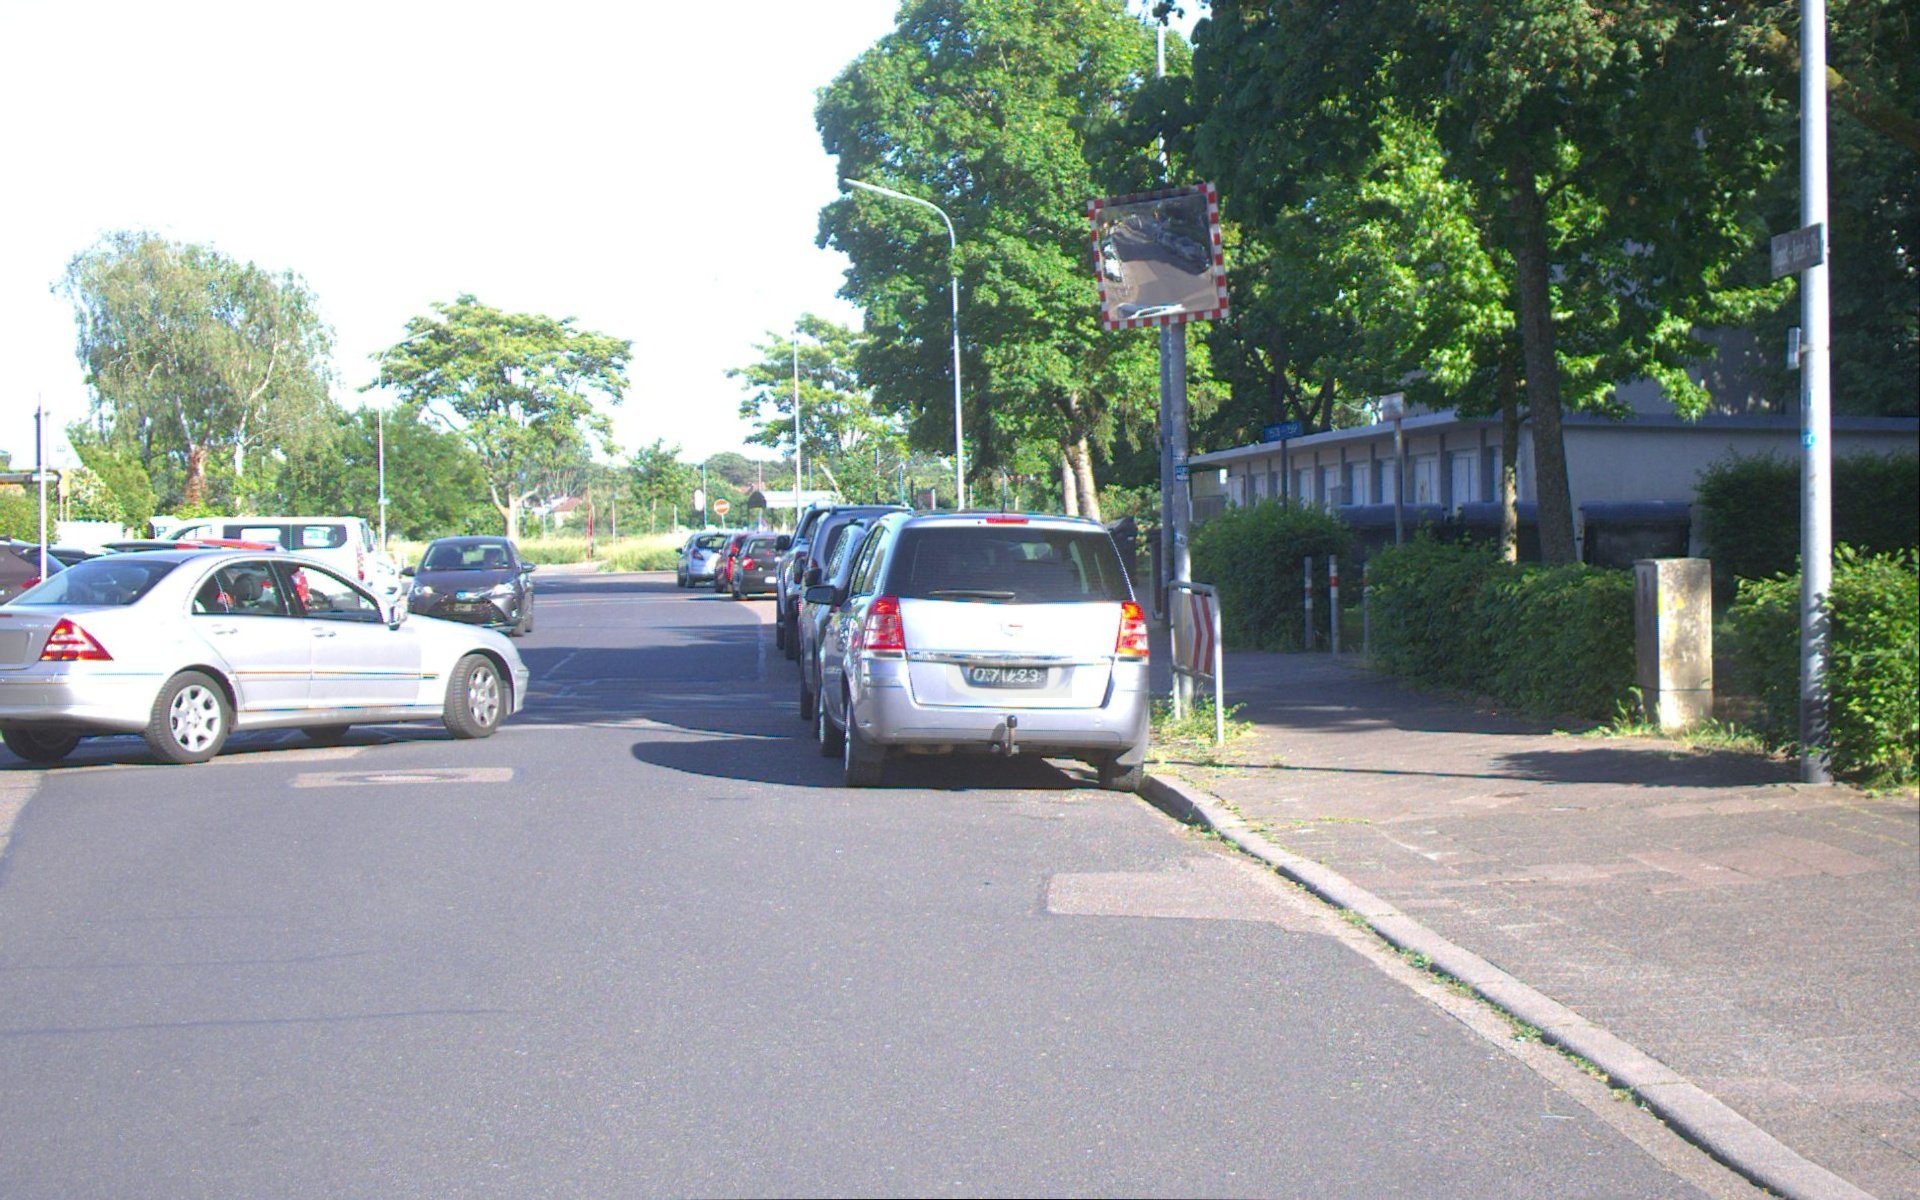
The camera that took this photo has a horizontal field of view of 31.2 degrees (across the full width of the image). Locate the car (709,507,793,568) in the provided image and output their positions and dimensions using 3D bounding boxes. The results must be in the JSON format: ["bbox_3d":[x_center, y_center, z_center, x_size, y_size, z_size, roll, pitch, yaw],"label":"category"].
[{"bbox_3d":[-5.078,-1.506,83.310,1.575,1.441,3.790,-1,1,-10],"label":"car"}]

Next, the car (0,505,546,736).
[{"bbox_3d":[-5.111,0.070,24.127,1.820,1.458,4.351,1,2,39],"label":"car"}]

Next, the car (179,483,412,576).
[{"bbox_3d":[-14.278,-1.503,74.106,4.787,1.914,2.082,1,0,-8],"label":"car"}]

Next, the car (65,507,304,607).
[{"bbox_3d":[-12.790,-0.719,56.863,3.601,1.562,1.882,1,2,-4],"label":"car"}]

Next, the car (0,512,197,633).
[{"bbox_3d":[-12.055,-0.370,44.383,4.091,1.507,1.813,1,0,-6],"label":"car"}]

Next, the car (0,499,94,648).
[{"bbox_3d":[-12.165,-0.327,39.218,4.186,1.650,1.847,1,0,-6],"label":"car"}]

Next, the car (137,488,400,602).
[{"bbox_3d":[-12.522,-0.992,62.513,4.478,1.970,2.000,1,0,-5],"label":"car"}]

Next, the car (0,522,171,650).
[{"bbox_3d":[-11.836,-0.190,42.193,3.986,1.527,1.832,1,0,-6],"label":"car"}]

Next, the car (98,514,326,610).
[{"bbox_3d":[-12.883,-0.665,59.371,3.601,1.562,1.852,1,2,-4],"label":"car"}]

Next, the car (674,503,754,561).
[{"bbox_3d":[-6.693,-1.836,93.154,1.731,1.537,3.790,-1,1,-10],"label":"car"}]

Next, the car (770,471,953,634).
[{"bbox_3d":[-1.264,-0.628,41.817,1.906,1.834,5.276,1,2,-5],"label":"car"}]

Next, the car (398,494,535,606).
[{"bbox_3d":[-7.358,-0.747,51.537,1.649,1.550,4.002,-2,1,-3],"label":"car"}]

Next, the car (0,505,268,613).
[{"bbox_3d":[-12.192,-0.608,49.940,3.986,1.474,1.791,1,2,-4],"label":"car"}]

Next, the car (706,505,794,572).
[{"bbox_3d":[-4.653,-1.344,75.852,1.647,1.398,3.883,-2,1,-7],"label":"car"}]

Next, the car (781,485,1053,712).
[{"bbox_3d":[-0.408,-0.054,26.428,1.804,1.588,4.024,1,1,-5],"label":"car"}]

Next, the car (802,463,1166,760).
[{"bbox_3d":[0.037,0.042,21.037,1.768,1.604,4.373,1,1,-5],"label":"car"}]

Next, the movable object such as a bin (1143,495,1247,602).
[{"bbox_3d":[3.031,-0.661,44.269,1.250,1.342,1.052,-1,0,8],"label":"movable object such as a bin"}]

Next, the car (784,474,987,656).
[{"bbox_3d":[-0.861,-0.428,36.619,1.833,1.785,4.556,1,2,-5],"label":"car"}]
